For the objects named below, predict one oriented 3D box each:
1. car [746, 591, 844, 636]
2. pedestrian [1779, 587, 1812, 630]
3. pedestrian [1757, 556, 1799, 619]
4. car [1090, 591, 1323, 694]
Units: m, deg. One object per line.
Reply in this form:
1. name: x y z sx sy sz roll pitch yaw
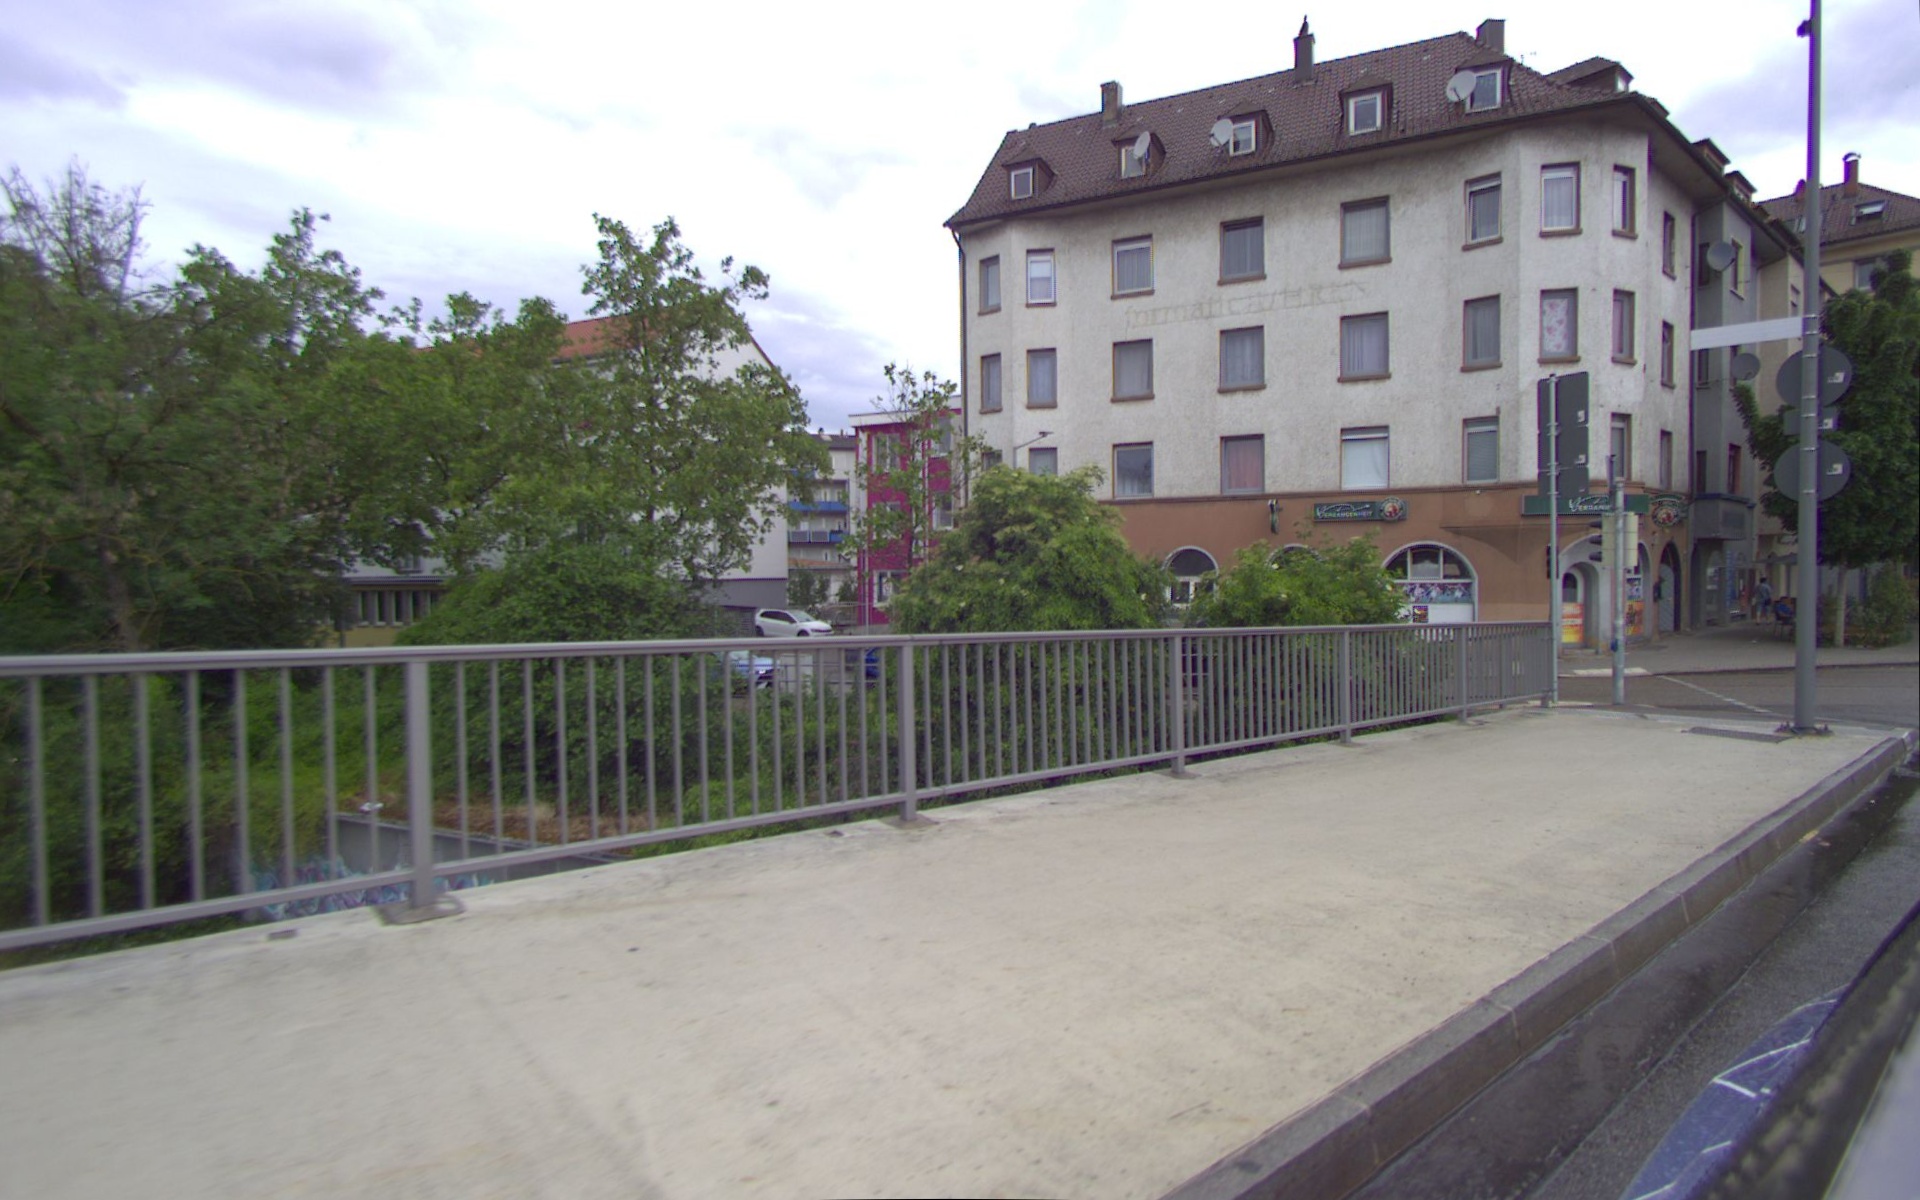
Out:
1. car: -7.449 0.578 45.744 3.957 1.570 1.986 4 5 23
2. pedestrian: 24.182 0.237 29.287 0.548 1.204 0.665 -4 4 -42
3. pedestrian: 27.619 -0.447 34.165 1.180 2.038 0.898 -4 4 -41
4. car: 5.531 0.966 22.783 4.711 2.038 1.982 -3 1 27
